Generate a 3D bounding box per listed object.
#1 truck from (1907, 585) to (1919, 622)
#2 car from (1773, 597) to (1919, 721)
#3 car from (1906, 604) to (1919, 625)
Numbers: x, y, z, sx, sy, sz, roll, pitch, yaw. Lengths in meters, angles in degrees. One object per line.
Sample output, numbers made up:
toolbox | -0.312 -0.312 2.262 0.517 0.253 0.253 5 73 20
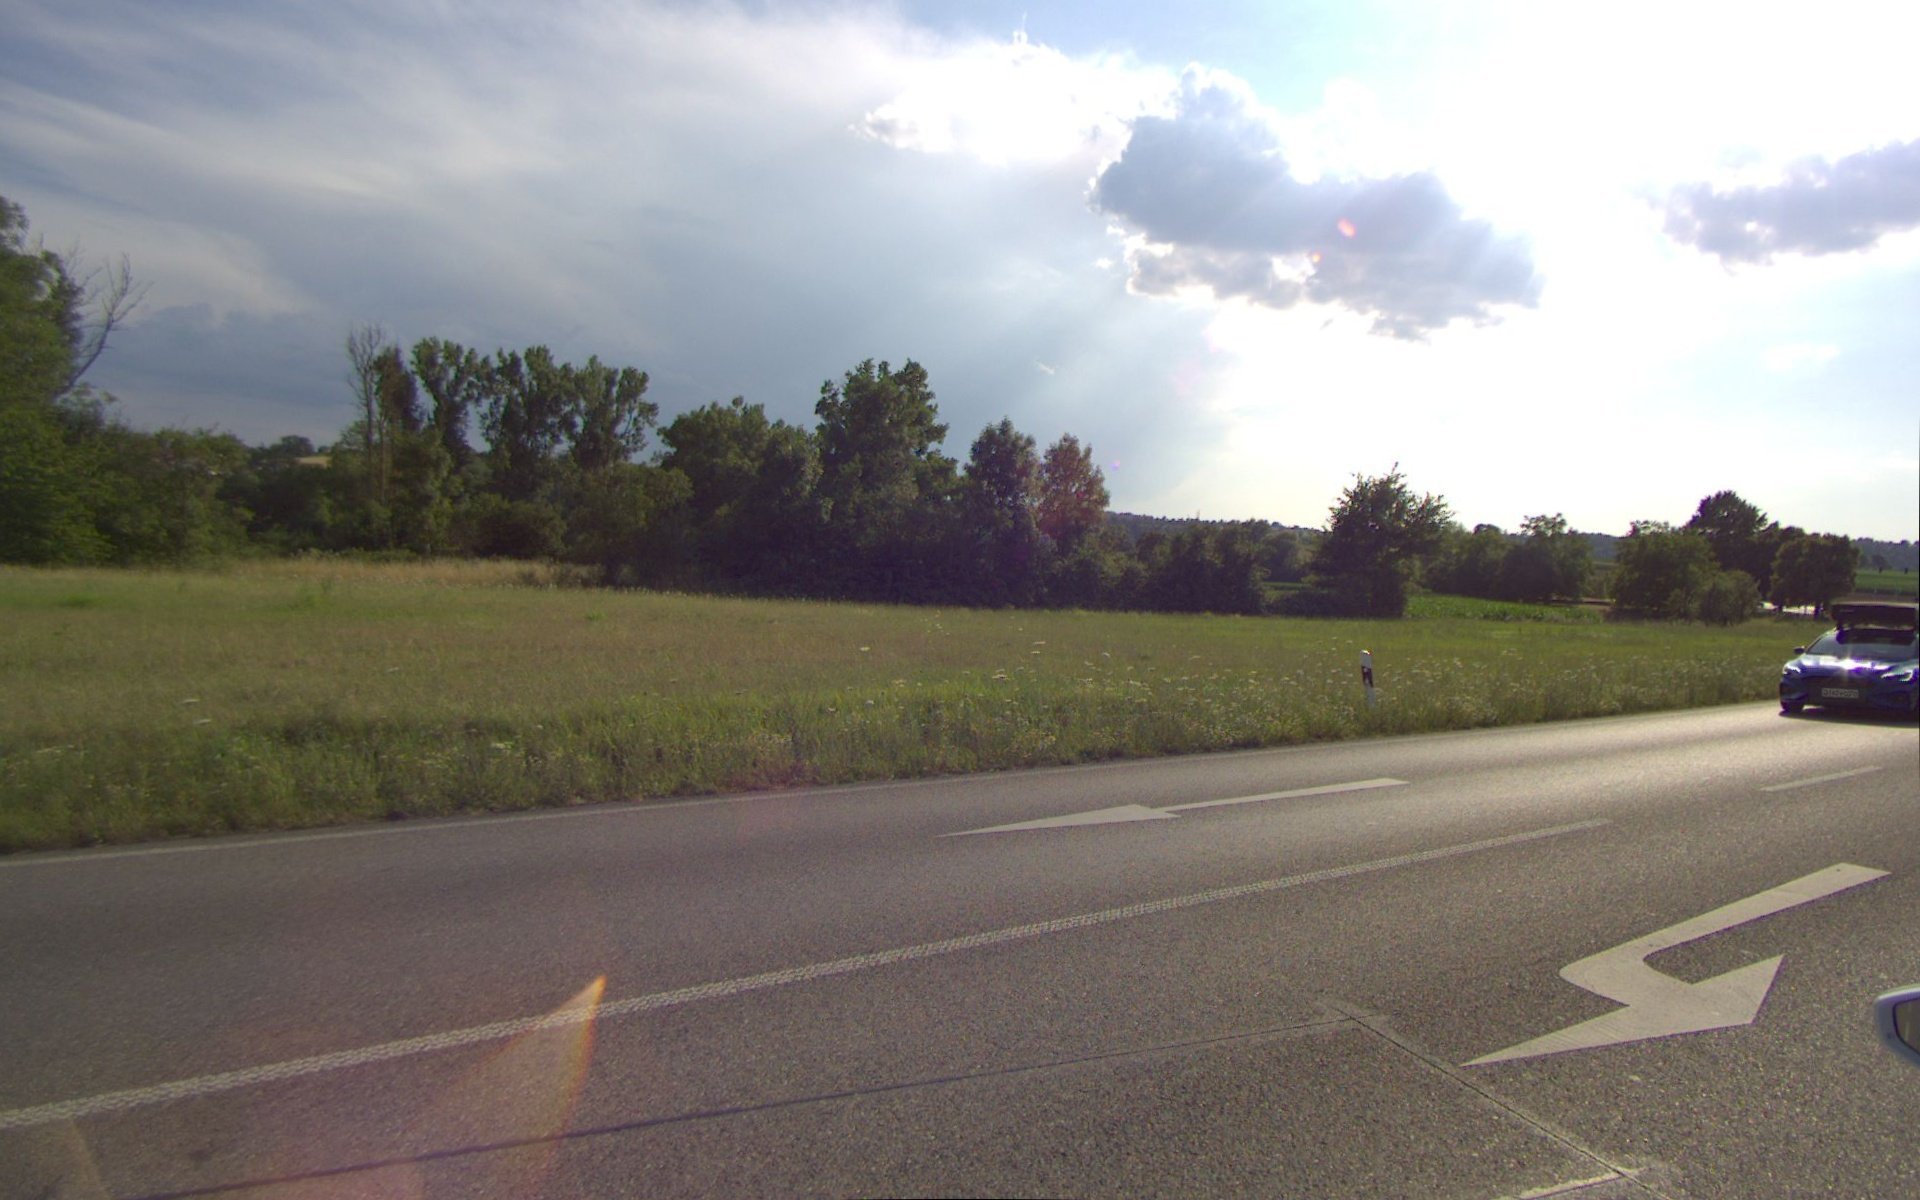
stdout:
truck | 115.763 0.514 119.380 3.326 4.409 5.694 3 1 30
car | 15.881 0.960 17.514 4.296 1.907 1.712 1 -1 -37
car | 101.610 1.524 106.096 1.973 2.165 4.760 2 0 38
